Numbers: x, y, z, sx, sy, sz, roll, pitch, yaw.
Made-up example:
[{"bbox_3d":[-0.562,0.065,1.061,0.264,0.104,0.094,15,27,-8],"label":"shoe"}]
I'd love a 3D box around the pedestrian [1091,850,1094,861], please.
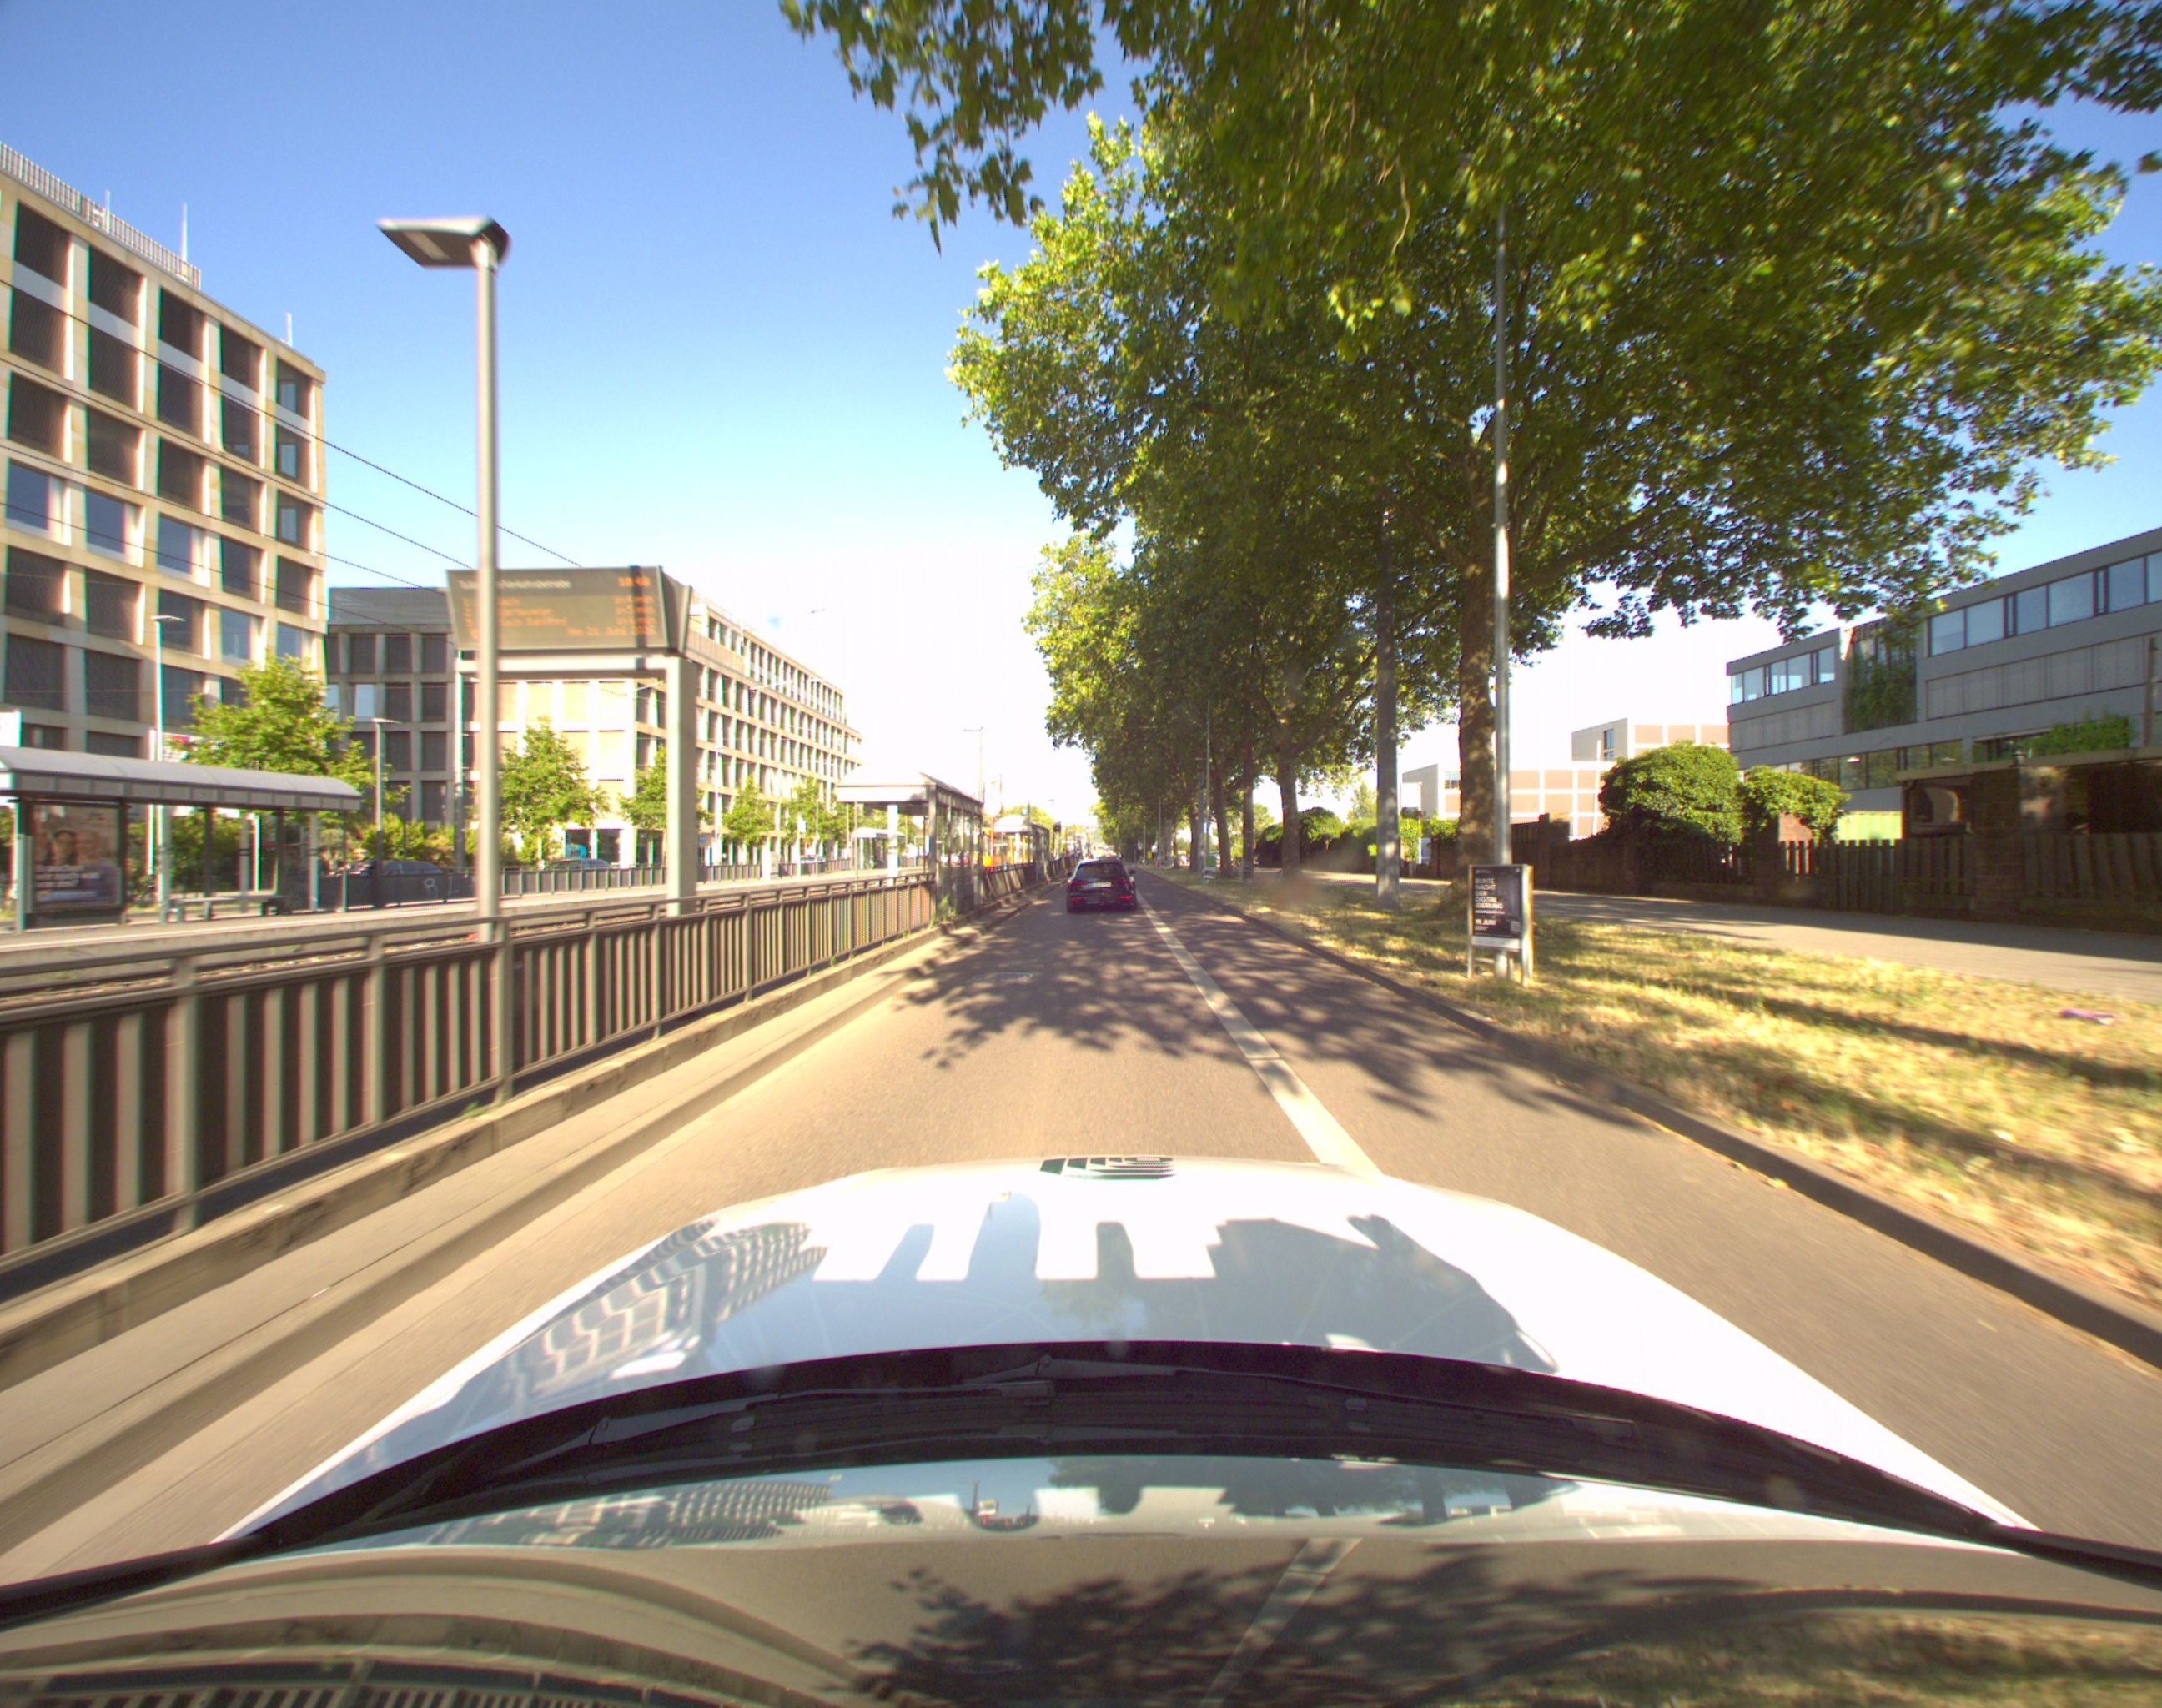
[{"bbox_3d":[1.674,0.253,122.323,0.410,1.717,0.666,0,0,2],"label":"pedestrian"}]

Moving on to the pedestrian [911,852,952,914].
[{"bbox_3d":[-3.110,0.593,16.941,0.739,1.274,0.525,-1,0,1],"label":"pedestrian"}]

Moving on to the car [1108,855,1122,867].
[{"bbox_3d":[4.749,0.998,113.161,1.757,1.619,3.999,0,0,0],"label":"car"}]

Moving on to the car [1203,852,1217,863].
[{"bbox_3d":[19.699,0.535,124.477,1.608,1.515,3.805,0,0,2],"label":"car"}]

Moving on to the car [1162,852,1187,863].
[{"bbox_3d":[15.515,0.579,135.664,3.971,1.764,1.834,0,0,2],"label":"car"}]

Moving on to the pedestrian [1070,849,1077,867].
[{"bbox_3d":[-0.667,0.352,72.791,0.609,1.668,0.614,0,0,4],"label":"pedestrian"}]

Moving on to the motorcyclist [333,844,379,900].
[{"bbox_3d":[-20.272,0.492,22.783,0.573,1.533,0.765,-1,0,3],"label":"motorcyclist"}]

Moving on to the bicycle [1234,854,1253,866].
[{"bbox_3d":[16.232,0.568,81.482,1.767,1.120,0.439,-2,0,1],"label":"bicycle"}]

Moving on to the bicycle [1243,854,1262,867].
[{"bbox_3d":[15.837,0.572,75.205,1.681,1.120,0.439,-2,0,1],"label":"bicycle"}]

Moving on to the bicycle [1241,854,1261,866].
[{"bbox_3d":[15.879,0.575,76.271,1.767,1.120,0.439,-2,0,1],"label":"bicycle"}]

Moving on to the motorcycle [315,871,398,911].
[{"bbox_3d":[-20.270,1.009,22.843,0.602,1.021,1.843,-1,0,3],"label":"motorcycle"}]

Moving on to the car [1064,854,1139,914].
[{"bbox_3d":[0.526,0.767,22.525,1.872,1.457,3.356,-2,0,0],"label":"car"}]

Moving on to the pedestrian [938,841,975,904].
[{"bbox_3d":[-3.013,0.446,19.775,0.742,1.508,0.667,-1,0,4],"label":"pedestrian"}]

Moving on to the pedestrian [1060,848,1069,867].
[{"bbox_3d":[-1.380,0.303,66.976,0.610,1.549,0.727,0,0,12],"label":"pedestrian"}]

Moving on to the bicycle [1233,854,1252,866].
[{"bbox_3d":[15.968,0.578,80.442,1.767,1.120,0.439,-2,0,1],"label":"bicycle"}]

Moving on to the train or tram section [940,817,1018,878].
[{"bbox_3d":[-6.934,-0.387,57.962,3.296,3.829,14.225,0,0,2],"label":"train or tram section"}]

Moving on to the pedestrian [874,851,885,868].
[{"bbox_3d":[-15.316,0.437,61.912,0.611,1.260,0.725,0,0,6],"label":"pedestrian"}]

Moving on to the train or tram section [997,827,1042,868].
[{"bbox_3d":[-6.064,-0.571,82.567,3.296,3.829,11.848,0,0,2],"label":"train or tram section"}]

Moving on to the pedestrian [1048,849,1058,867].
[{"bbox_3d":[-2.771,0.431,81.179,0.799,1.784,0.642,0,-1,-38],"label":"pedestrian"}]

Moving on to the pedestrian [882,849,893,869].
[{"bbox_3d":[-15.312,0.382,64.396,0.610,1.527,0.726,0,0,10],"label":"pedestrian"}]

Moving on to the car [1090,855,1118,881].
[{"bbox_3d":[1.466,0.914,53.542,1.757,1.619,3.999,0,0,0],"label":"car"}]

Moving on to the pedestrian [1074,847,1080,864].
[{"bbox_3d":[-0.422,0.148,85.254,0.609,1.784,0.614,0,0,2],"label":"pedestrian"}]

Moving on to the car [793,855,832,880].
[{"bbox_3d":[-23.238,1.144,70.636,1.987,2.013,3.999,0,0,0],"label":"car"}]

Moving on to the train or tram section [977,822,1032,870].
[{"bbox_3d":[-6.455,-0.594,71.053,3.296,3.829,11.848,0,0,2],"label":"train or tram section"}]
